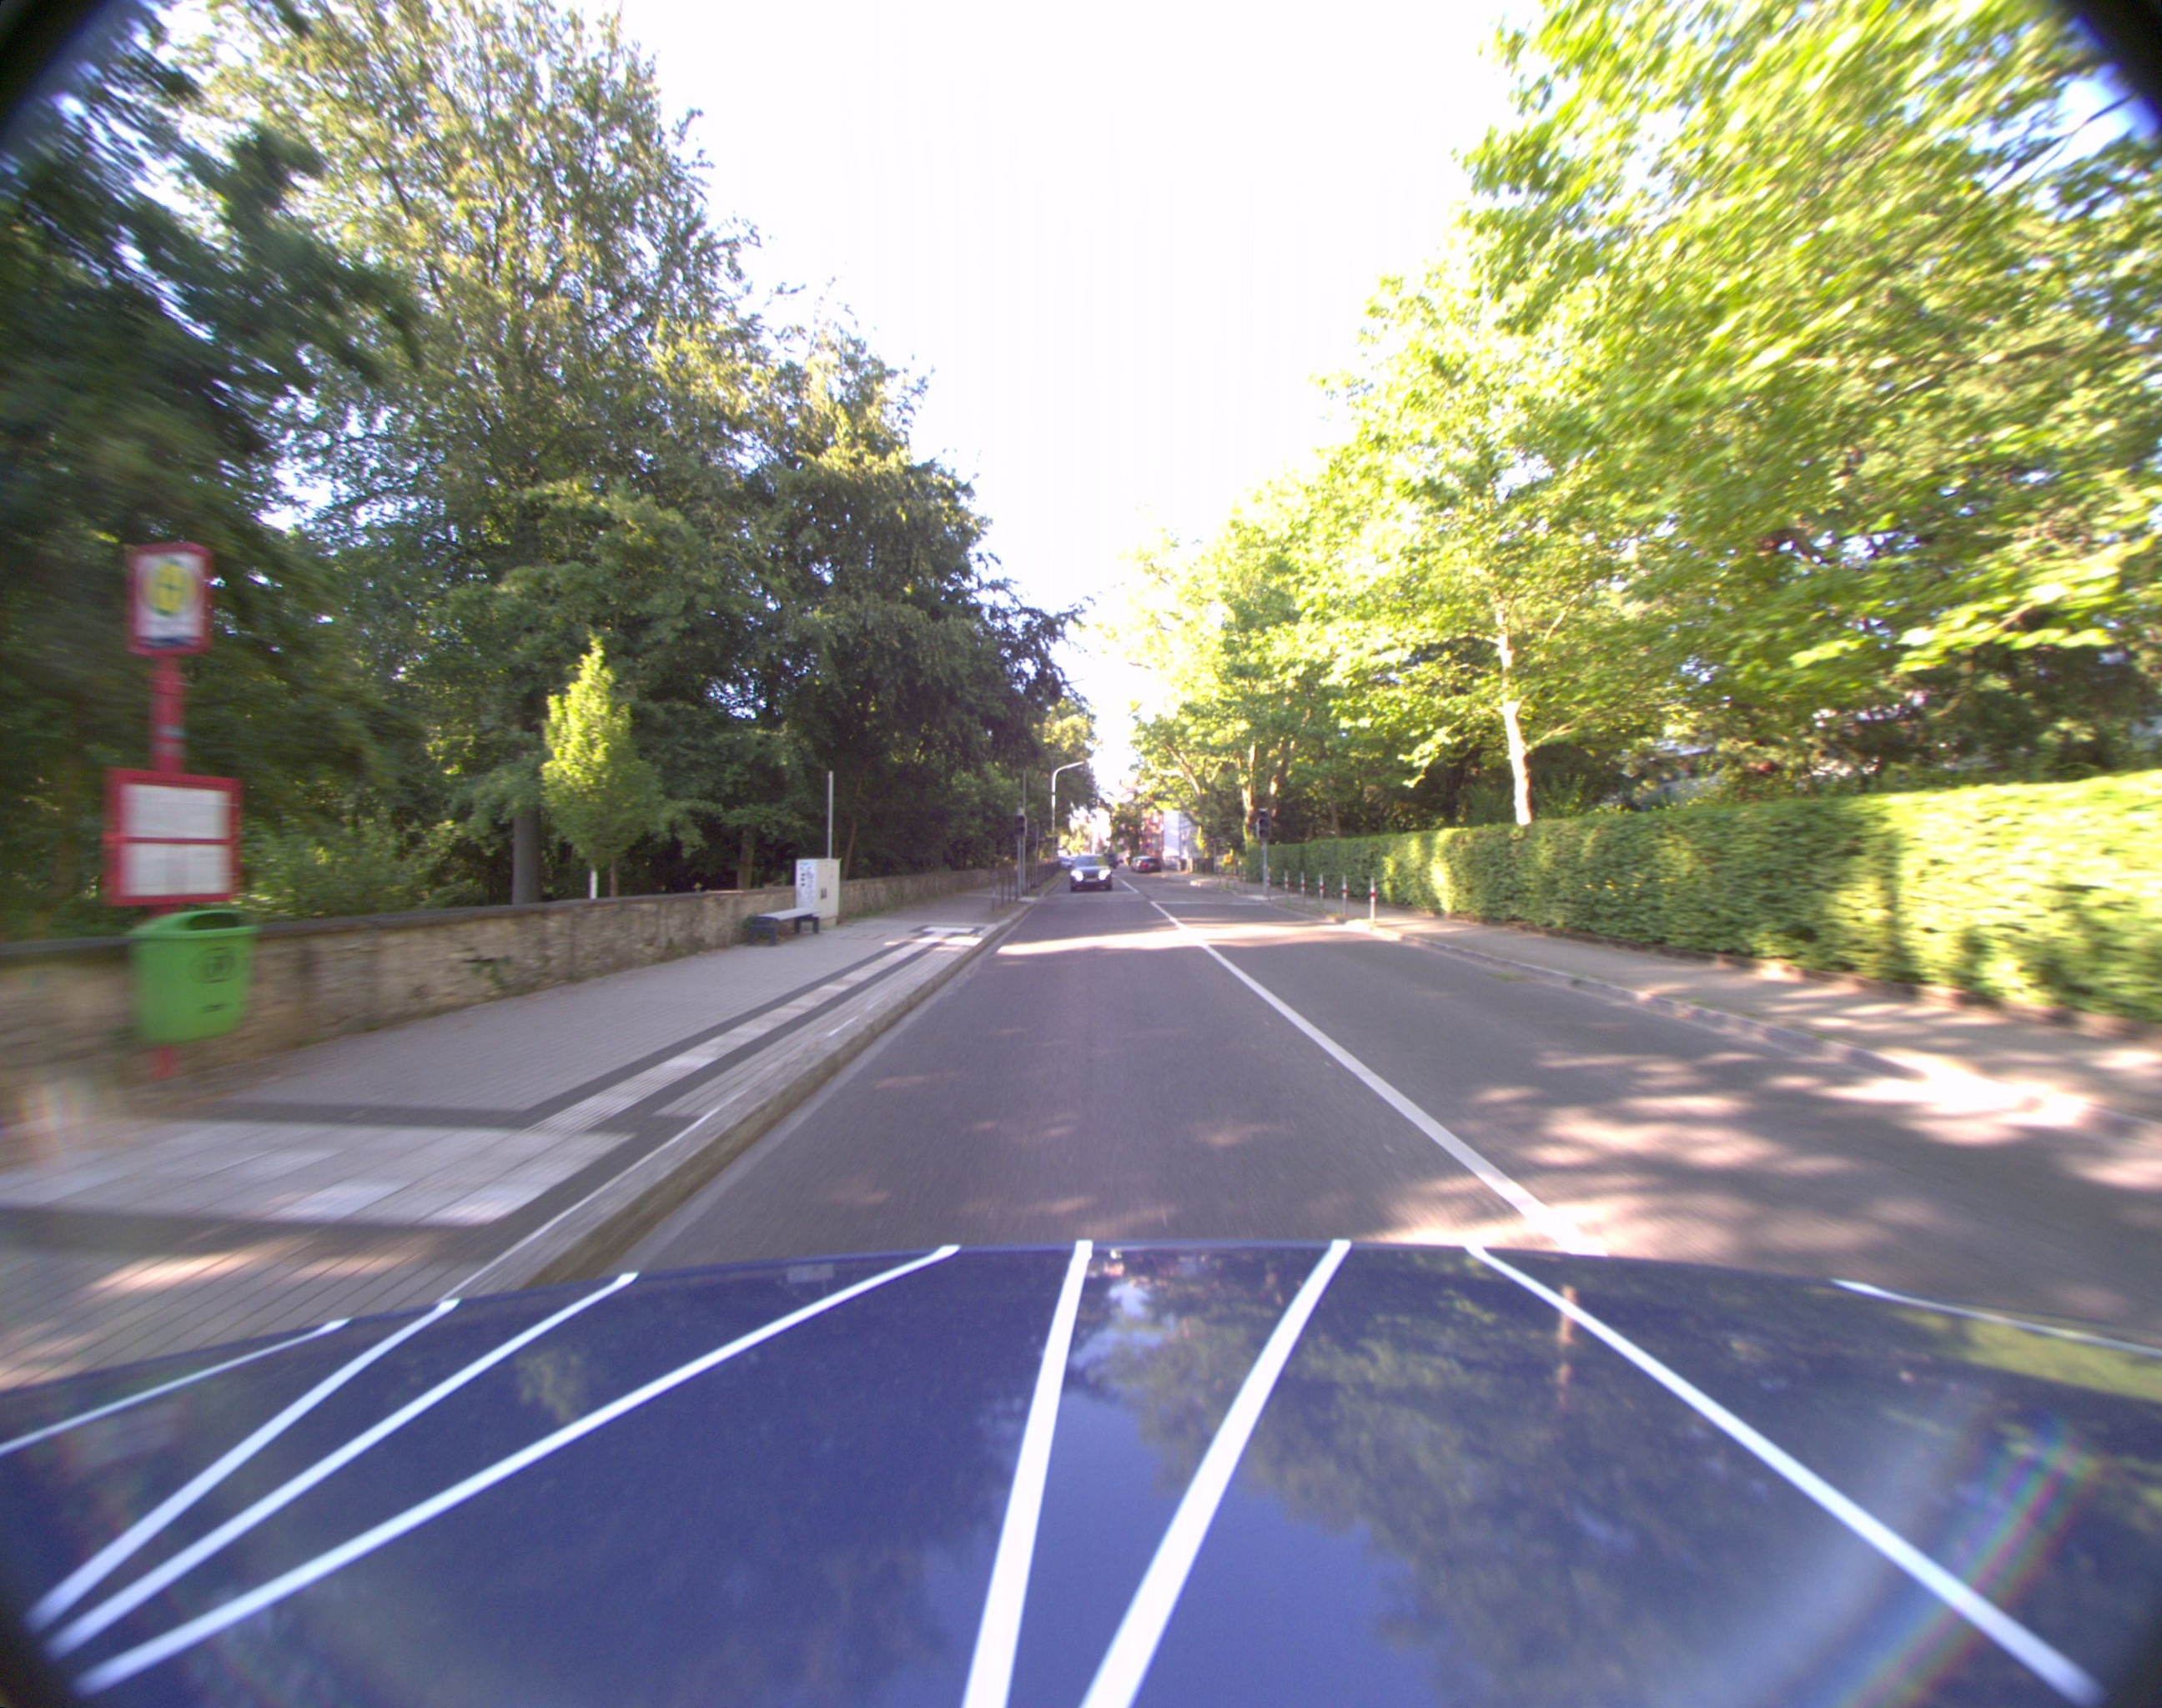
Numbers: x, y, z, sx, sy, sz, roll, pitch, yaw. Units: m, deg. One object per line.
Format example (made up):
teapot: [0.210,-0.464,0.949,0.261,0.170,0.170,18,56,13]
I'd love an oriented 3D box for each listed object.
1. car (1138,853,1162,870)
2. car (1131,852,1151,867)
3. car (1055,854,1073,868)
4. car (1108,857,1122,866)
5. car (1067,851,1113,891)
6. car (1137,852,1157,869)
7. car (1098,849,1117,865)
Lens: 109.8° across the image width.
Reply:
car: [6.121,0.647,67.598,1.689,1.425,3.616,-4,0,-1]
car: [6.118,0.549,77.894,1.628,1.426,3.559,-3,0,-1]
car: [-1.924,0.771,85.927,1.824,1.375,3.933,2,1,-4]
car: [5.551,1.172,124.215,1.824,1.375,3.933,2,1,-4]
car: [0.482,0.734,34.409,1.936,1.676,4.433,-1,0,2]
car: [6.316,0.602,72.875,1.628,1.537,3.322,-1,0,-1]
car: [3.346,0.324,96.604,1.999,1.957,4.776,1,0,-2]
